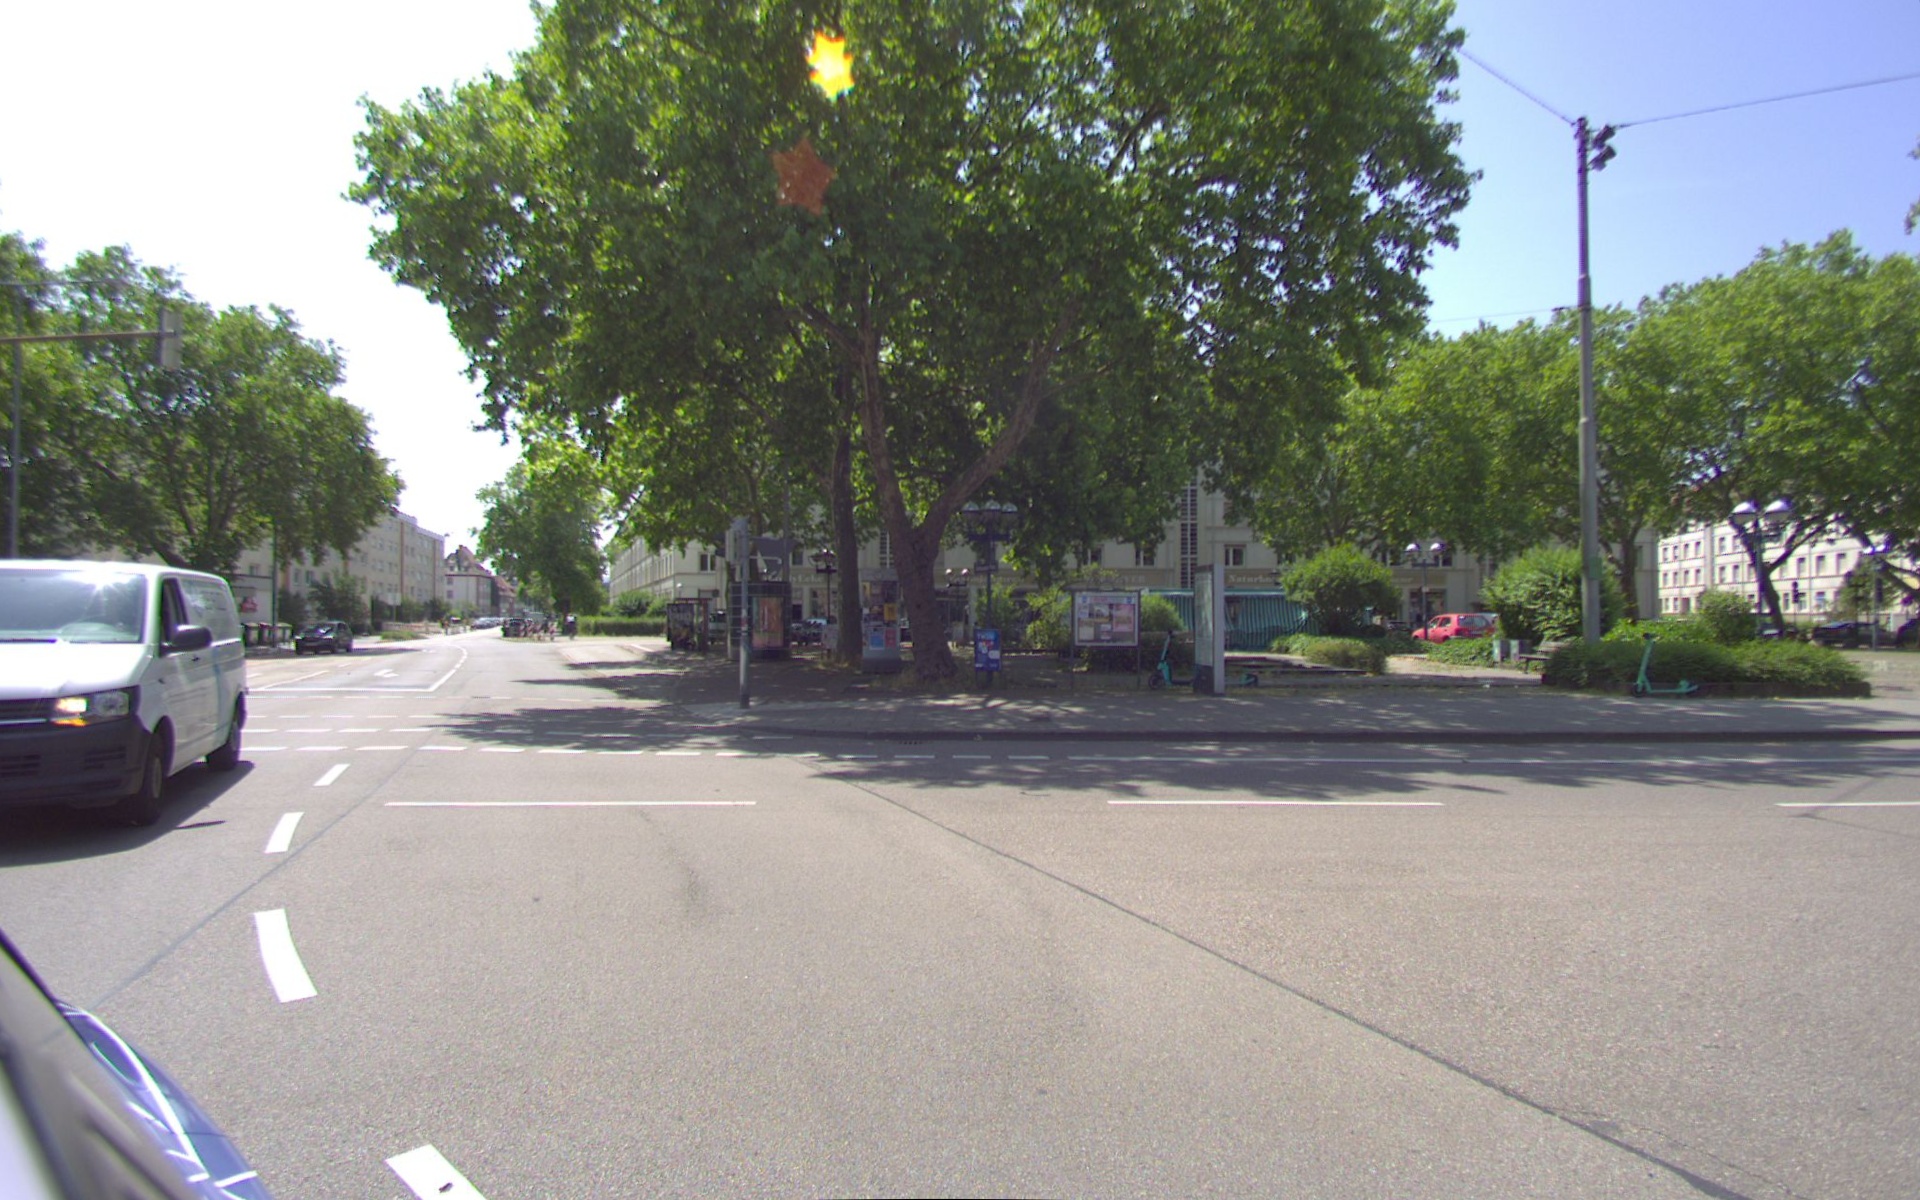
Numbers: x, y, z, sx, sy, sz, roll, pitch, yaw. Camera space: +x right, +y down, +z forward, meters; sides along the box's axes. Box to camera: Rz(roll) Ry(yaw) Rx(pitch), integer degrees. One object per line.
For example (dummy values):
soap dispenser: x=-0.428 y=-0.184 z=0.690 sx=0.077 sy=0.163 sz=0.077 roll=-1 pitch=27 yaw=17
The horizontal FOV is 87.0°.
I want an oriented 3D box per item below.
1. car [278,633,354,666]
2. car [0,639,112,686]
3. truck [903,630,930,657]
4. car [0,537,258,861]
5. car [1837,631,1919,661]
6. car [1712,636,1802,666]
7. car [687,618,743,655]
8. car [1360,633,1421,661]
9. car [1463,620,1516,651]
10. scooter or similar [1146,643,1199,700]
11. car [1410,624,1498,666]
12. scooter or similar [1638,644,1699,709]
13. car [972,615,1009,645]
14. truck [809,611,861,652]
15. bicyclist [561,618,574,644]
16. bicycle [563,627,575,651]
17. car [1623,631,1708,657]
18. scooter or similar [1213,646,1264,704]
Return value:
car: x=-31.704 y=2.396 z=49.958 sx=1.914 sy=1.472 sz=4.068 roll=0 pitch=0 yaw=-13
car: x=-30.053 y=1.999 z=33.107 sx=1.774 sy=1.356 sz=3.800 roll=0 pitch=0 yaw=-8
truck: x=-2.402 y=2.363 z=55.867 sx=1.448 sy=1.388 sz=2.984 roll=0 pitch=0 yaw=-3
car: x=-7.239 y=0.699 z=8.214 sx=1.821 sy=1.968 sz=4.959 roll=1 pitch=-3 yaw=-27
car: x=48.537 y=2.401 z=52.939 sx=3.791 sy=1.499 sz=1.926 roll=0 pitch=-1 yaw=-6
car: x=43.604 y=2.768 z=55.457 sx=1.708 sy=1.499 sz=3.853 roll=0 pitch=-1 yaw=-3
car: x=-13.443 y=1.984 z=55.758 sx=1.974 sy=1.913 sz=3.996 roll=0 pitch=-1 yaw=3
car: x=24.058 y=2.587 z=56.669 sx=1.598 sy=1.420 sz=3.928 roll=0 pitch=0 yaw=-2
car: x=35.185 y=2.341 z=67.361 sx=1.552 sy=1.964 sz=3.924 roll=0 pitch=0 yaw=2
scooter or similar: x=4.250 y=1.425 z=20.312 sx=1.025 sy=1.129 sz=0.256 roll=0 pitch=-1 yaw=12
car: x=17.950 y=1.619 z=36.905 sx=1.451 sy=1.394 sz=3.346 roll=0 pitch=0 yaw=-2
scooter or similar: x=12.729 y=1.365 z=18.198 sx=0.851 sy=1.129 sz=0.256 roll=0 pitch=-1 yaw=12
car: x=1.657 y=1.665 z=56.155 sx=1.908 sy=1.613 sz=3.999 roll=0 pitch=-1 yaw=0
truck: x=-6.881 y=1.690 z=56.176 sx=1.941 sy=2.139 sz=4.365 roll=0 pitch=0 yaw=5
bicyclist: x=-26.557 y=2.113 z=68.462 sx=0.693 sy=1.748 sz=0.789 roll=0 pitch=-1 yaw=-16
bicycle: x=-26.666 y=2.679 z=69.063 sx=0.587 sy=1.566 sz=1.848 roll=0 pitch=-1 yaw=-16
car: x=39.151 y=2.424 z=56.266 sx=1.895 sy=1.265 sz=3.853 roll=0 pitch=0 yaw=-3
scooter or similar: x=5.526 y=1.484 z=20.120 sx=0.967 sy=1.129 sz=0.256 roll=0 pitch=-1 yaw=12
